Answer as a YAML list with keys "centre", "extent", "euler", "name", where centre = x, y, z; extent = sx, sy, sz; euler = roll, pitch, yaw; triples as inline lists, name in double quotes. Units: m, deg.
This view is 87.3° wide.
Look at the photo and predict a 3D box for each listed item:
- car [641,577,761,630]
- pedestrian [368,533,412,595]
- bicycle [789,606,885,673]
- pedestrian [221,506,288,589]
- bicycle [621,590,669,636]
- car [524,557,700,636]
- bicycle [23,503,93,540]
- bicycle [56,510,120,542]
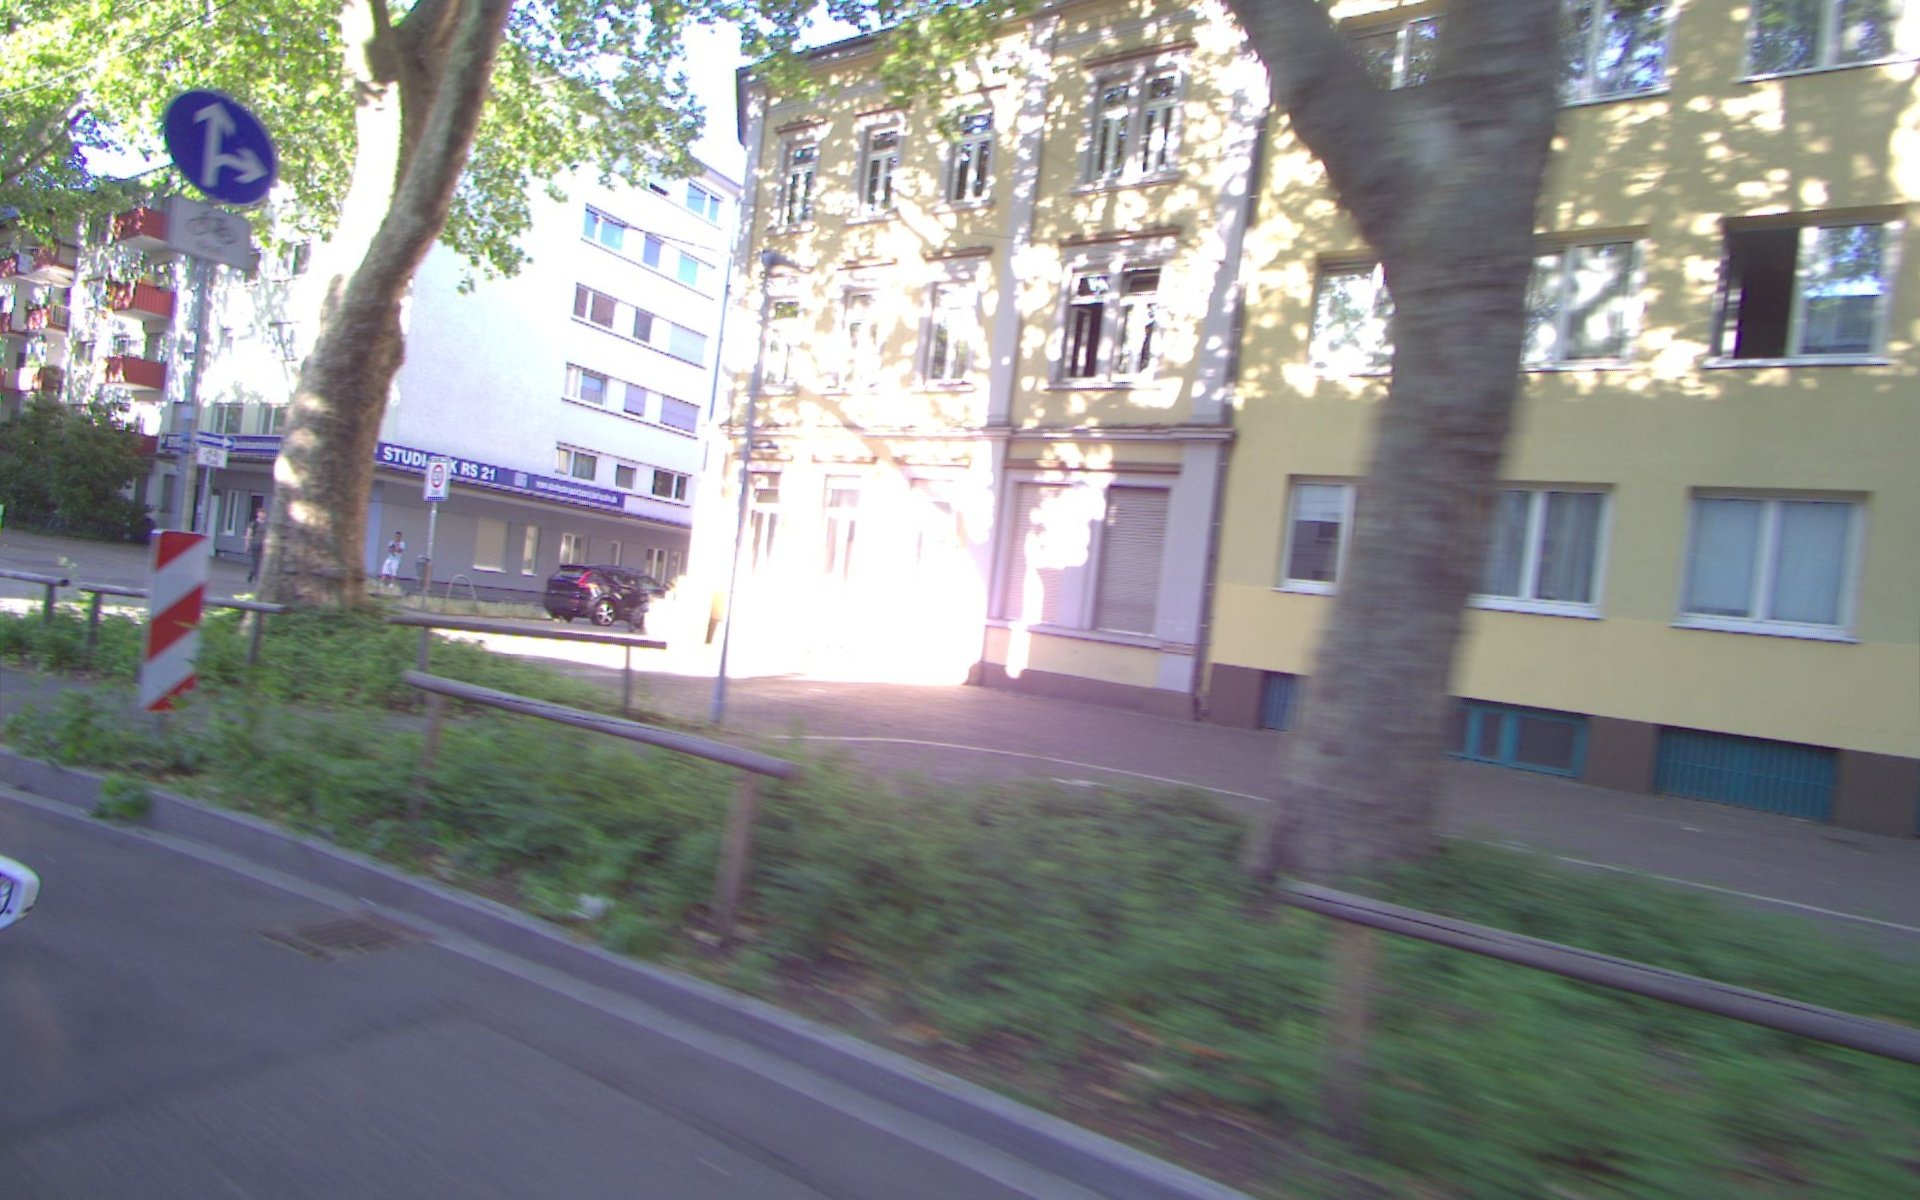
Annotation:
- centre: [-9.700, 0.168, 37.990]
  extent: [1.966, 1.439, 4.140]
  euler: [9, 0, 29]
  name: "car"
- centre: [-16.327, -1.030, 28.817]
  extent: [0.655, 1.664, 0.747]
  euler: [7, 0, 34]
  name: "pedestrian"
- centre: [-2.480, 0.782, 20.206]
  extent: [1.891, 1.118, 0.583]
  euler: [6, 2, 32]
  name: "bicycle"
- centre: [-17.441, -1.289, 24.872]
  extent: [1.168, 1.890, 0.767]
  euler: [7, 1, 29]
  name: "pedestrian"
- centre: [-7.652, 0.327, 24.503]
  extent: [0.559, 1.019, 1.835]
  euler: [7, -2, -3]
  name: "bicycle"
- centre: [-9.330, -0.049, 27.308]
  extent: [1.965, 1.612, 4.141]
  euler: [7, -1, 28]
  name: "car"
- centre: [-35.254, -3.060, 39.345]
  extent: [0.562, 1.171, 1.948]
  euler: [6, 1, 25]
  name: "bicycle"
- centre: [-34.722, -2.949, 40.085]
  extent: [0.607, 1.055, 1.793]
  euler: [7, 1, 28]
  name: "bicycle"
